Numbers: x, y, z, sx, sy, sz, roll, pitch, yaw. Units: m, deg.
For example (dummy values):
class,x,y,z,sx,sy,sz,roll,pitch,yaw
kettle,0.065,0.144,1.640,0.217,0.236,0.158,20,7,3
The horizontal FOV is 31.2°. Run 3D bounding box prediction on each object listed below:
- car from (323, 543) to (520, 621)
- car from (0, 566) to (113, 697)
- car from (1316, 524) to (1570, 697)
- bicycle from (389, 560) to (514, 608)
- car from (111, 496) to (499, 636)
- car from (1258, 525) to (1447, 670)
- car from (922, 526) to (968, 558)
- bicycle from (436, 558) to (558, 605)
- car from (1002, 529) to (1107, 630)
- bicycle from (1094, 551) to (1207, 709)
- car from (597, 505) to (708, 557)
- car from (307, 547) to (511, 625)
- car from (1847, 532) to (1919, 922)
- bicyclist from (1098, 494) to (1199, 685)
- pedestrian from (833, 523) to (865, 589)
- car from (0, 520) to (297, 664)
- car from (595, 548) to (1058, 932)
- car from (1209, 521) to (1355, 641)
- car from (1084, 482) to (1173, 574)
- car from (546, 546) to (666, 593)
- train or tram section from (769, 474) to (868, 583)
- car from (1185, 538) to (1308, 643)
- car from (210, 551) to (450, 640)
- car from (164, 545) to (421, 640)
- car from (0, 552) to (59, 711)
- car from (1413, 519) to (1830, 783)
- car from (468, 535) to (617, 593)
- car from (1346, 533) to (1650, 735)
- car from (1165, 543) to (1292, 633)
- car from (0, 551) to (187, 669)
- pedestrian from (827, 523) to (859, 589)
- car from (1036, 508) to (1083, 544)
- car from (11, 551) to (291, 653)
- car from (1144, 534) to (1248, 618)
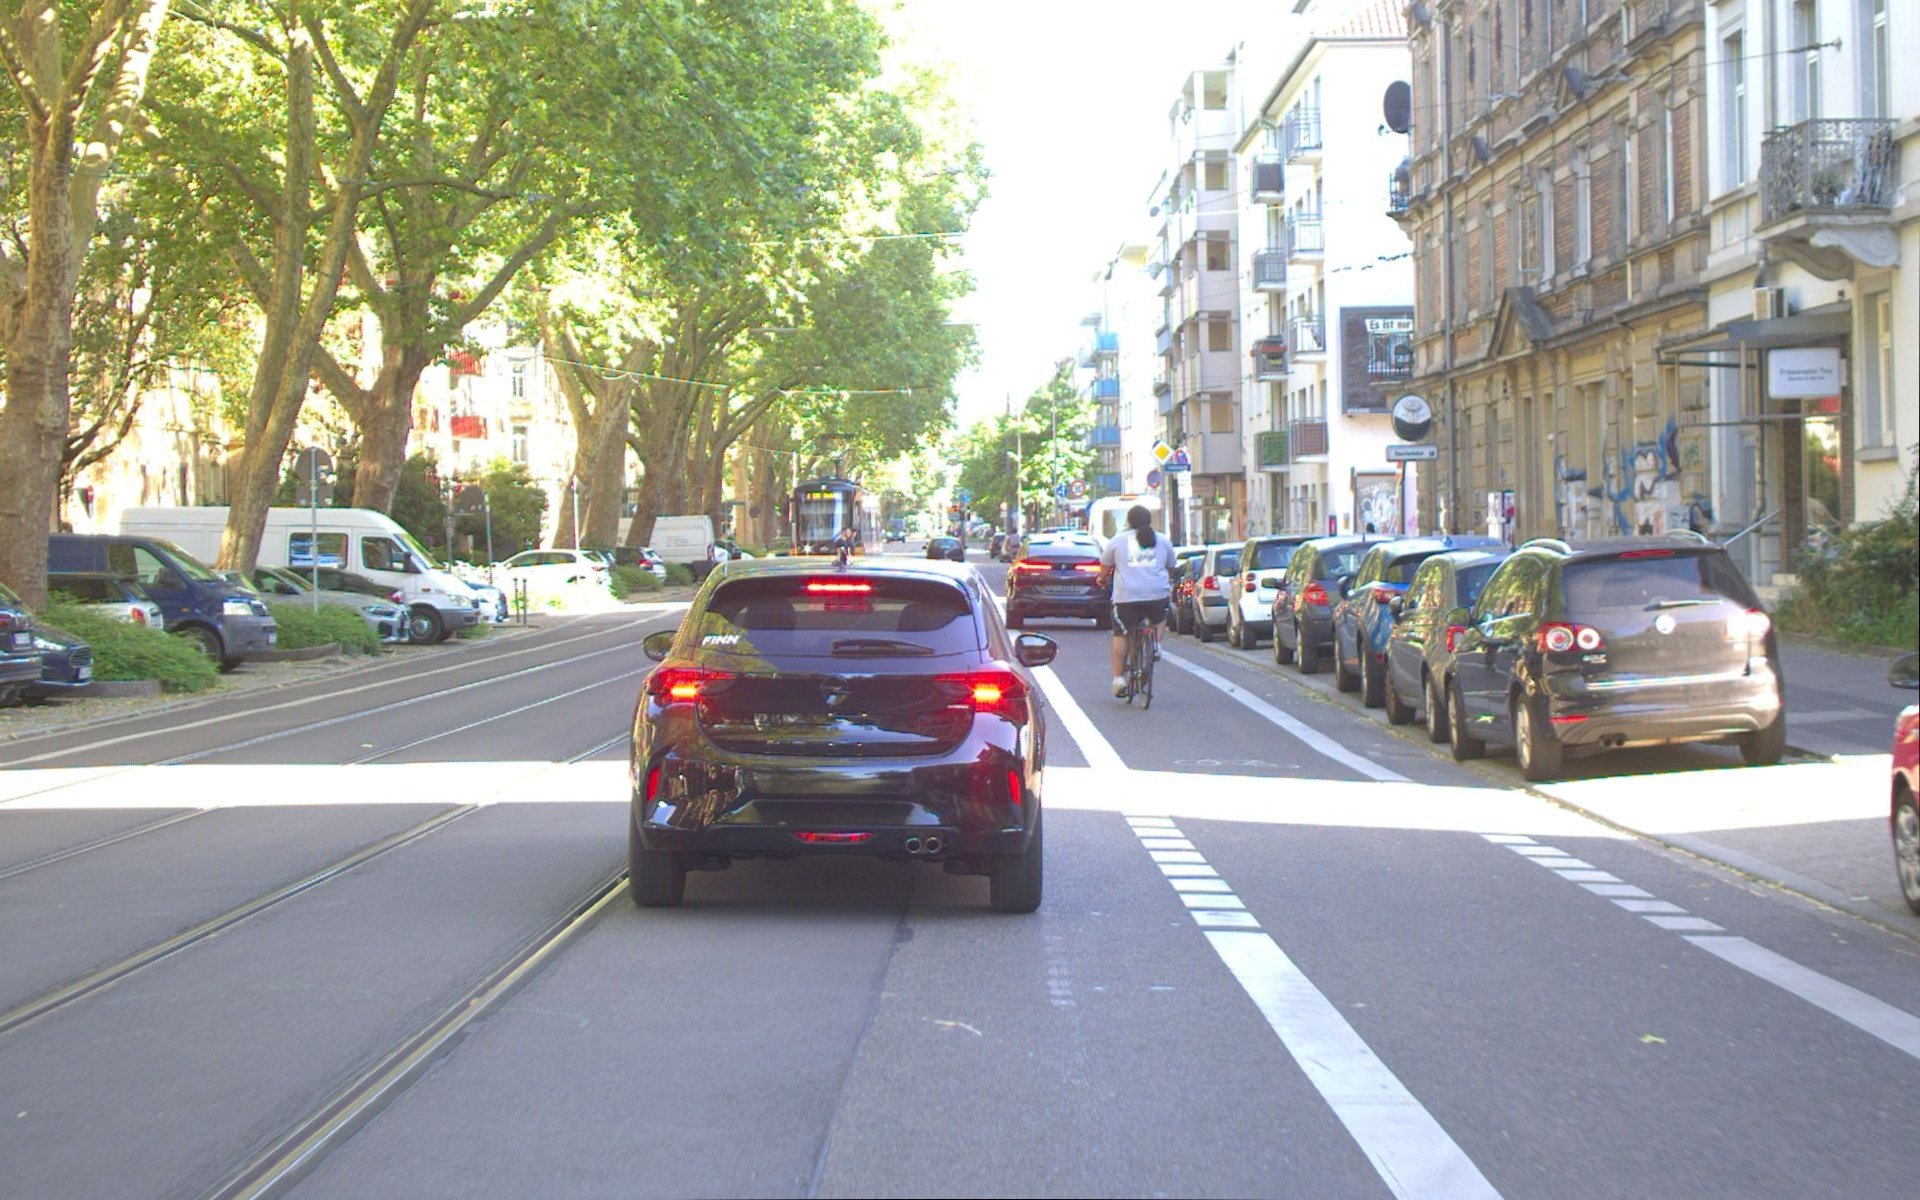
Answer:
class,x,y,z,sx,sy,sz,roll,pitch,yaw
car,-11.295,-0.387,72.269,3.919,1.572,1.677,1,1,-2
car,-11.700,0.313,38.655,3.919,1.417,1.819,1,1,-1
car,4.605,0.067,33.308,1.880,1.451,4.026,-4,1,1
bicycle,-12.668,-0.406,85.598,2.945,1.165,0.989,0,1,17
car,-11.972,-0.630,63.172,6.628,2.401,2.458,1,1,1
car,4.483,-0.056,39.697,1.710,1.478,3.764,-4,1,1
car,-0.626,-2.438,144.984,1.810,1.333,3.933,0,1,1
bicycle,-11.816,-0.478,87.726,2.945,1.165,0.989,0,1,17
car,1.689,-0.391,61.908,1.810,1.736,3.933,-1,1,1
bicycle,1.749,0.253,31.895,0.860,1.402,2.524,0,1,-1
car,-11.121,-2.491,124.545,3.919,1.784,1.677,1,1,-2
car,-11.160,-0.290,69.804,3.919,1.493,1.677,1,1,-2
car,4.578,0.493,12.837,1.634,1.541,3.576,-2,1,1
bicyclist,1.742,-0.106,31.951,0.848,1.734,1.162,0,1,-1
pedestrian,-2.640,-1.049,82.003,0.679,1.561,0.769,0,1,4
car,-11.831,-0.128,48.076,4.675,1.917,1.980,1,1,2
car,-0.524,0.518,15.110,1.794,1.436,3.531,0,2,0
car,4.484,-0.277,48.230,1.567,1.512,3.041,-4,1,-2
car,4.417,-1.888,90.865,2.075,2.211,4.933,-4,1,1
car,-11.873,-1.033,115.472,3.919,1.493,1.677,1,0,-2
train or tram section,-4.985,-2.536,123.285,2.735,3.669,12.716,-1,1,1
car,4.408,-0.174,53.286,1.705,1.451,3.697,-4,1,3
car,-11.103,-0.084,60.760,3.920,1.493,1.677,1,1,0
car,-11.134,-0.132,57.483,3.920,1.493,1.677,1,1,2
car,-11.734,0.280,36.162,3.994,1.621,1.879,1,1,0
car,4.538,0.306,24.174,1.880,1.580,3.933,-4,1,-3
car,-11.417,-0.986,94.134,3.919,1.493,1.677,1,1,-2
car,4.413,0.240,28.718,1.798,1.451,3.768,-4,1,-1
car,4.462,-0.224,57.589,1.810,1.333,3.933,-4,1,1
car,-12.224,0.105,45.155,3.734,1.493,1.746,1,1,0
pedestrian,-2.762,-1.035,81.189,0.679,1.561,0.769,0,1,4
car,4.095,-3.043,141.449,1.810,1.333,3.933,-4,1,1
car,-11.918,0.021,50.784,3.734,1.425,1.637,1,1,0
car,4.383,-0.463,64.303,1.661,1.415,3.933,-4,1,1
